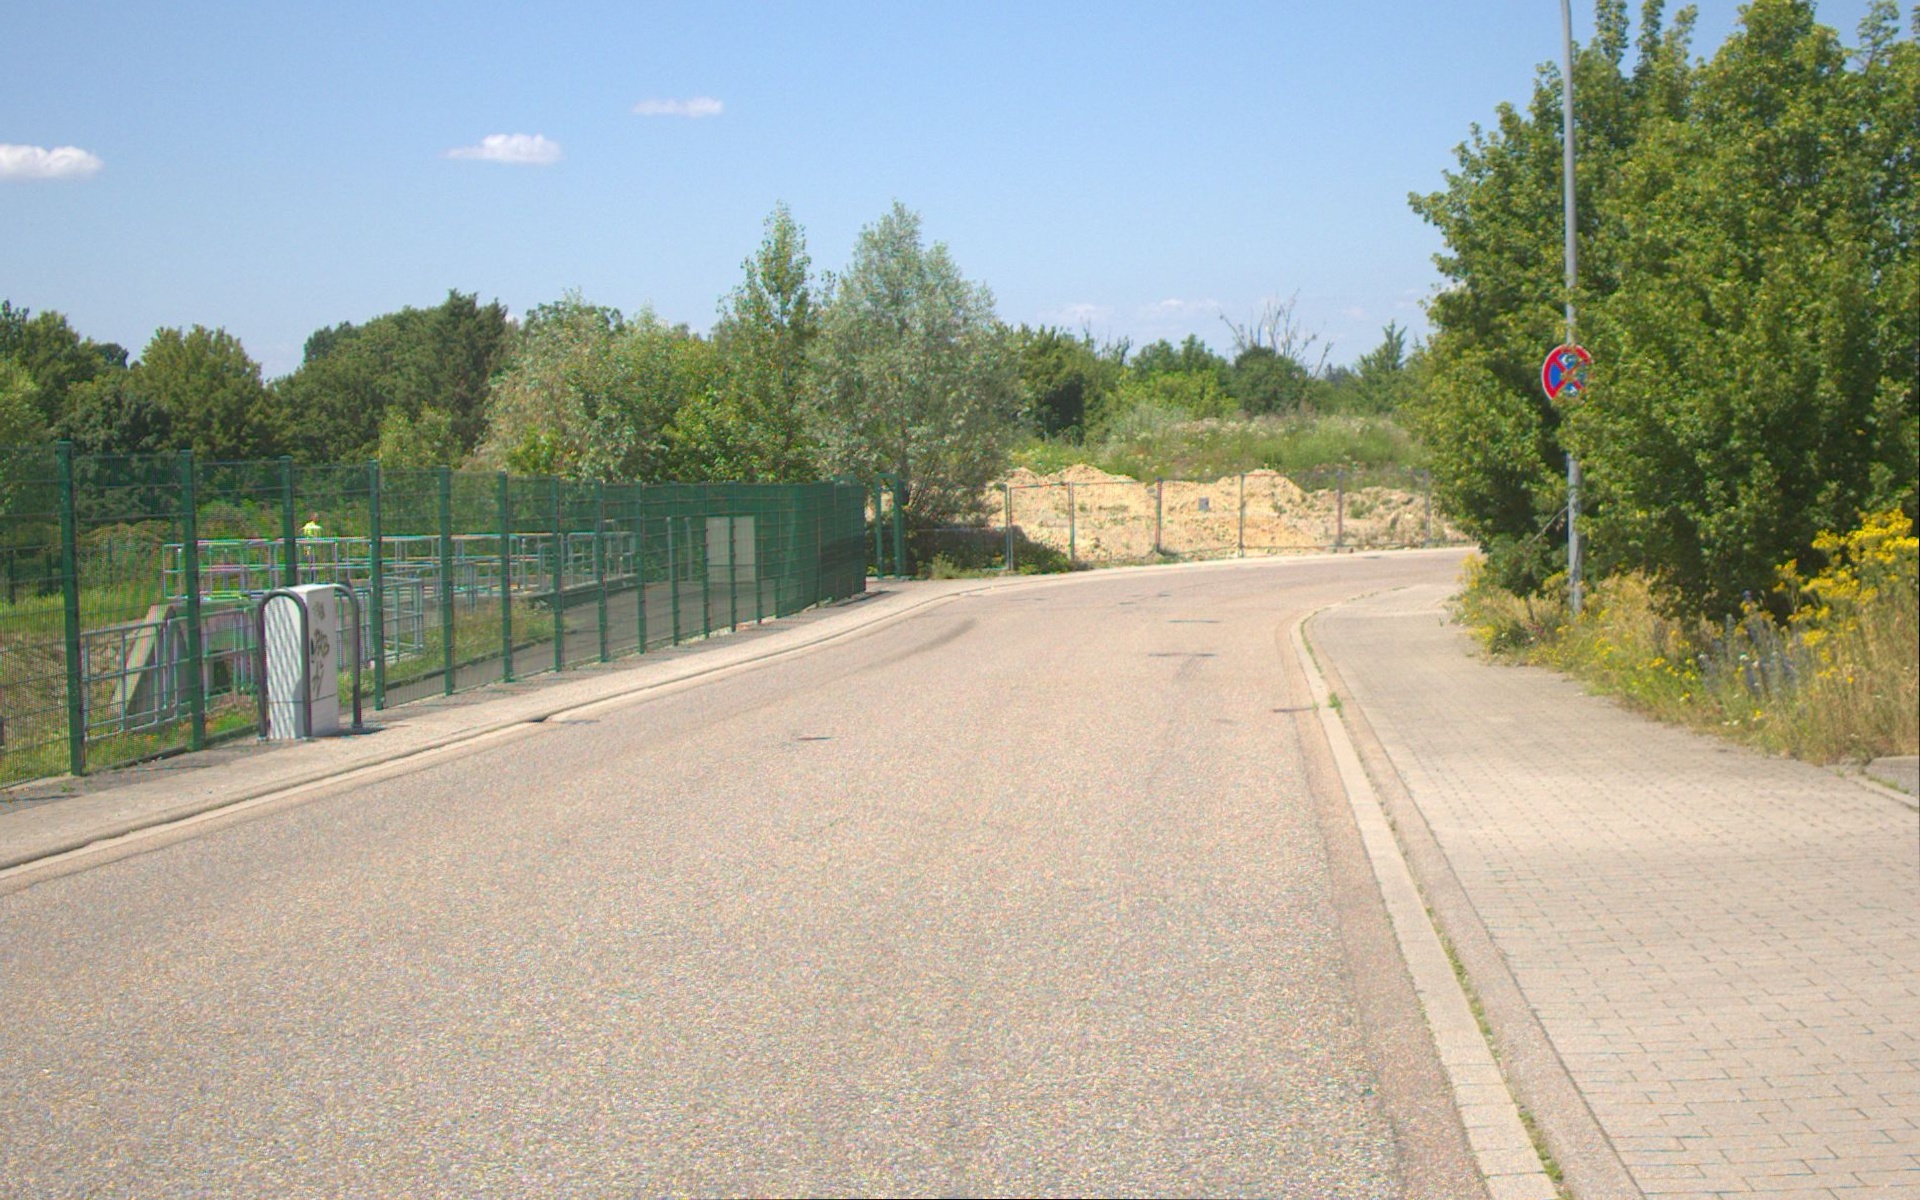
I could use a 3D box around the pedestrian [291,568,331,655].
[{"bbox_3d":[-13.960,0.239,73.994,0.606,1.833,0.805,-2,0,4],"label":"pedestrian"}]
